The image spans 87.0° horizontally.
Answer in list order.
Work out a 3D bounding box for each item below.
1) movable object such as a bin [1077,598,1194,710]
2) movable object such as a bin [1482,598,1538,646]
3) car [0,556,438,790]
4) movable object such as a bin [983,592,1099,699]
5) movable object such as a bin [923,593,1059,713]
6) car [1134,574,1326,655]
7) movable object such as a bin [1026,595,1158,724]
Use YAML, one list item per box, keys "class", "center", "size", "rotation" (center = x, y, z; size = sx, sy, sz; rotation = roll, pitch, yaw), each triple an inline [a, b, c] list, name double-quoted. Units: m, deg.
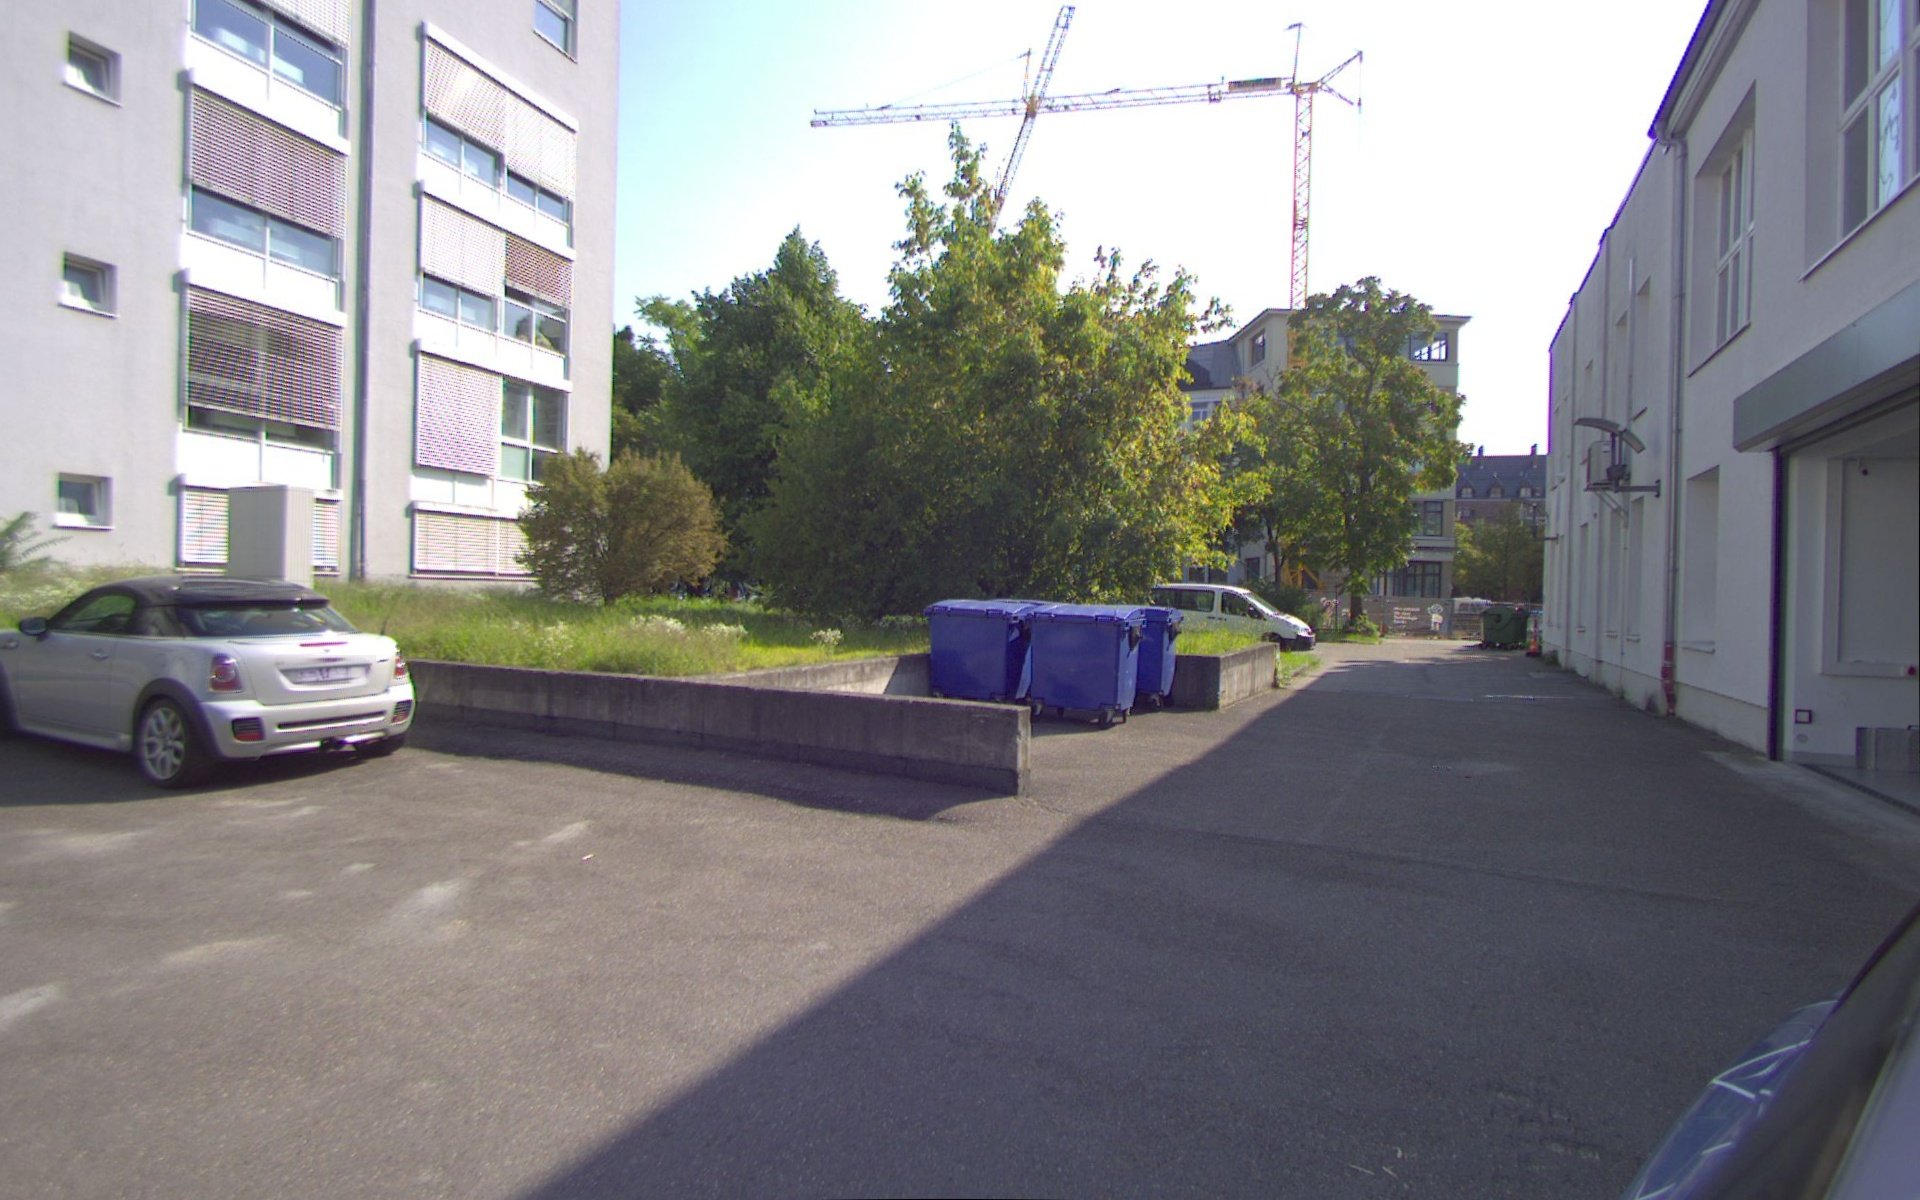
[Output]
- class: "movable object such as a bin"
  center: [2.304, 0.658, 13.187]
  size: [1.189, 1.344, 1.263]
  rotation: [1, 0, 27]
- class: "movable object such as a bin"
  center: [17.904, 0.710, 32.990]
  size: [1.511, 1.484, 1.263]
  rotation: [1, 0, 27]
- class: "car"
  center: [-6.081, 0.430, 7.938]
  size: [3.542, 1.455, 1.646]
  rotation: [2, 0, 23]
- class: "movable object such as a bin"
  center: [1.124, 0.587, 13.859]
  size: [1.189, 1.344, 1.263]
  rotation: [1, 0, 27]
- class: "movable object such as a bin"
  center: [0.402, 0.608, 12.464]
  size: [1.245, 1.344, 1.263]
  rotation: [1, 0, 27]
- class: "car"
  center: [7.385, 0.341, 27.780]
  size: [4.750, 1.956, 1.890]
  rotation: [2, 0, 29]
- class: "movable object such as a bin"
  center: [1.564, 0.647, 11.821]
  size: [1.201, 1.368, 1.264]
  rotation: [1, 0, 24]
